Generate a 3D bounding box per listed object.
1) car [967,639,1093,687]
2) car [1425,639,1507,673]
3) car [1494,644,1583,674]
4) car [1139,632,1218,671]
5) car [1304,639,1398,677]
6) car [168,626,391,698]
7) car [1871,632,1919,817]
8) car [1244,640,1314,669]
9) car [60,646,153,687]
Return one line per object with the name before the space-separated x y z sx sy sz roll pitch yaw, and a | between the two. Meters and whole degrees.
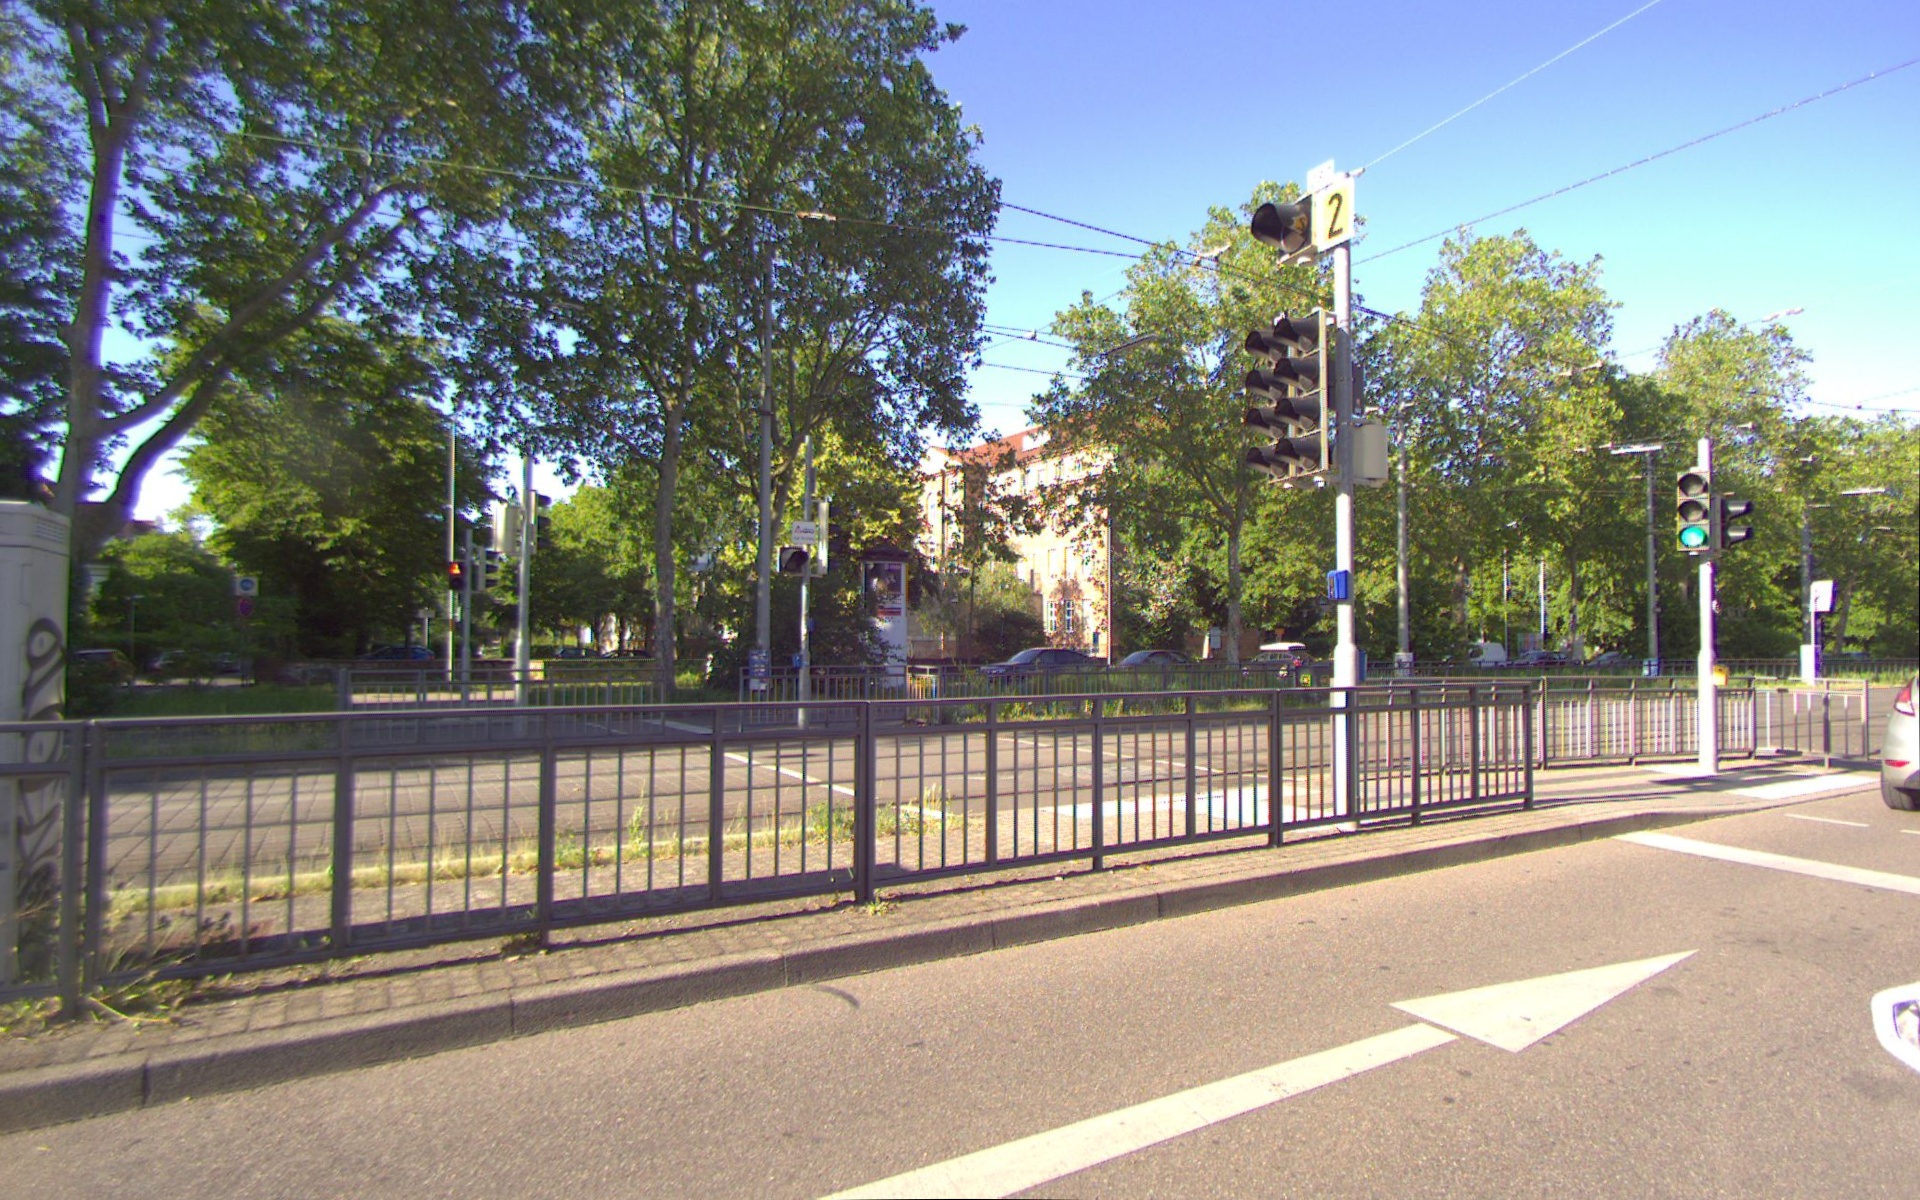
car | 2.412 2.112 34.058 4.099 1.529 1.660 2 -2 -32
car | 24.108 2.667 47.824 4.099 1.529 1.660 2 -2 -32
car | 29.335 2.995 50.889 4.796 1.366 1.926 3 -3 -32
car | 11.988 2.791 55.047 3.954 2.040 1.984 2 -2 -31
car | 16.750 2.453 43.003 4.099 1.529 1.660 2 -2 -32
car | -15.514 1.397 23.174 4.099 1.529 1.660 2 -2 -32
car | 9.632 1.042 8.690 3.846 1.486 1.601 2 -2 -32
car | 17.696 3.007 55.843 1.375 1.514 3.974 1 -2 -26
car | -33.296 2.572 39.300 1.976 1.437 3.969 2 -2 -29
